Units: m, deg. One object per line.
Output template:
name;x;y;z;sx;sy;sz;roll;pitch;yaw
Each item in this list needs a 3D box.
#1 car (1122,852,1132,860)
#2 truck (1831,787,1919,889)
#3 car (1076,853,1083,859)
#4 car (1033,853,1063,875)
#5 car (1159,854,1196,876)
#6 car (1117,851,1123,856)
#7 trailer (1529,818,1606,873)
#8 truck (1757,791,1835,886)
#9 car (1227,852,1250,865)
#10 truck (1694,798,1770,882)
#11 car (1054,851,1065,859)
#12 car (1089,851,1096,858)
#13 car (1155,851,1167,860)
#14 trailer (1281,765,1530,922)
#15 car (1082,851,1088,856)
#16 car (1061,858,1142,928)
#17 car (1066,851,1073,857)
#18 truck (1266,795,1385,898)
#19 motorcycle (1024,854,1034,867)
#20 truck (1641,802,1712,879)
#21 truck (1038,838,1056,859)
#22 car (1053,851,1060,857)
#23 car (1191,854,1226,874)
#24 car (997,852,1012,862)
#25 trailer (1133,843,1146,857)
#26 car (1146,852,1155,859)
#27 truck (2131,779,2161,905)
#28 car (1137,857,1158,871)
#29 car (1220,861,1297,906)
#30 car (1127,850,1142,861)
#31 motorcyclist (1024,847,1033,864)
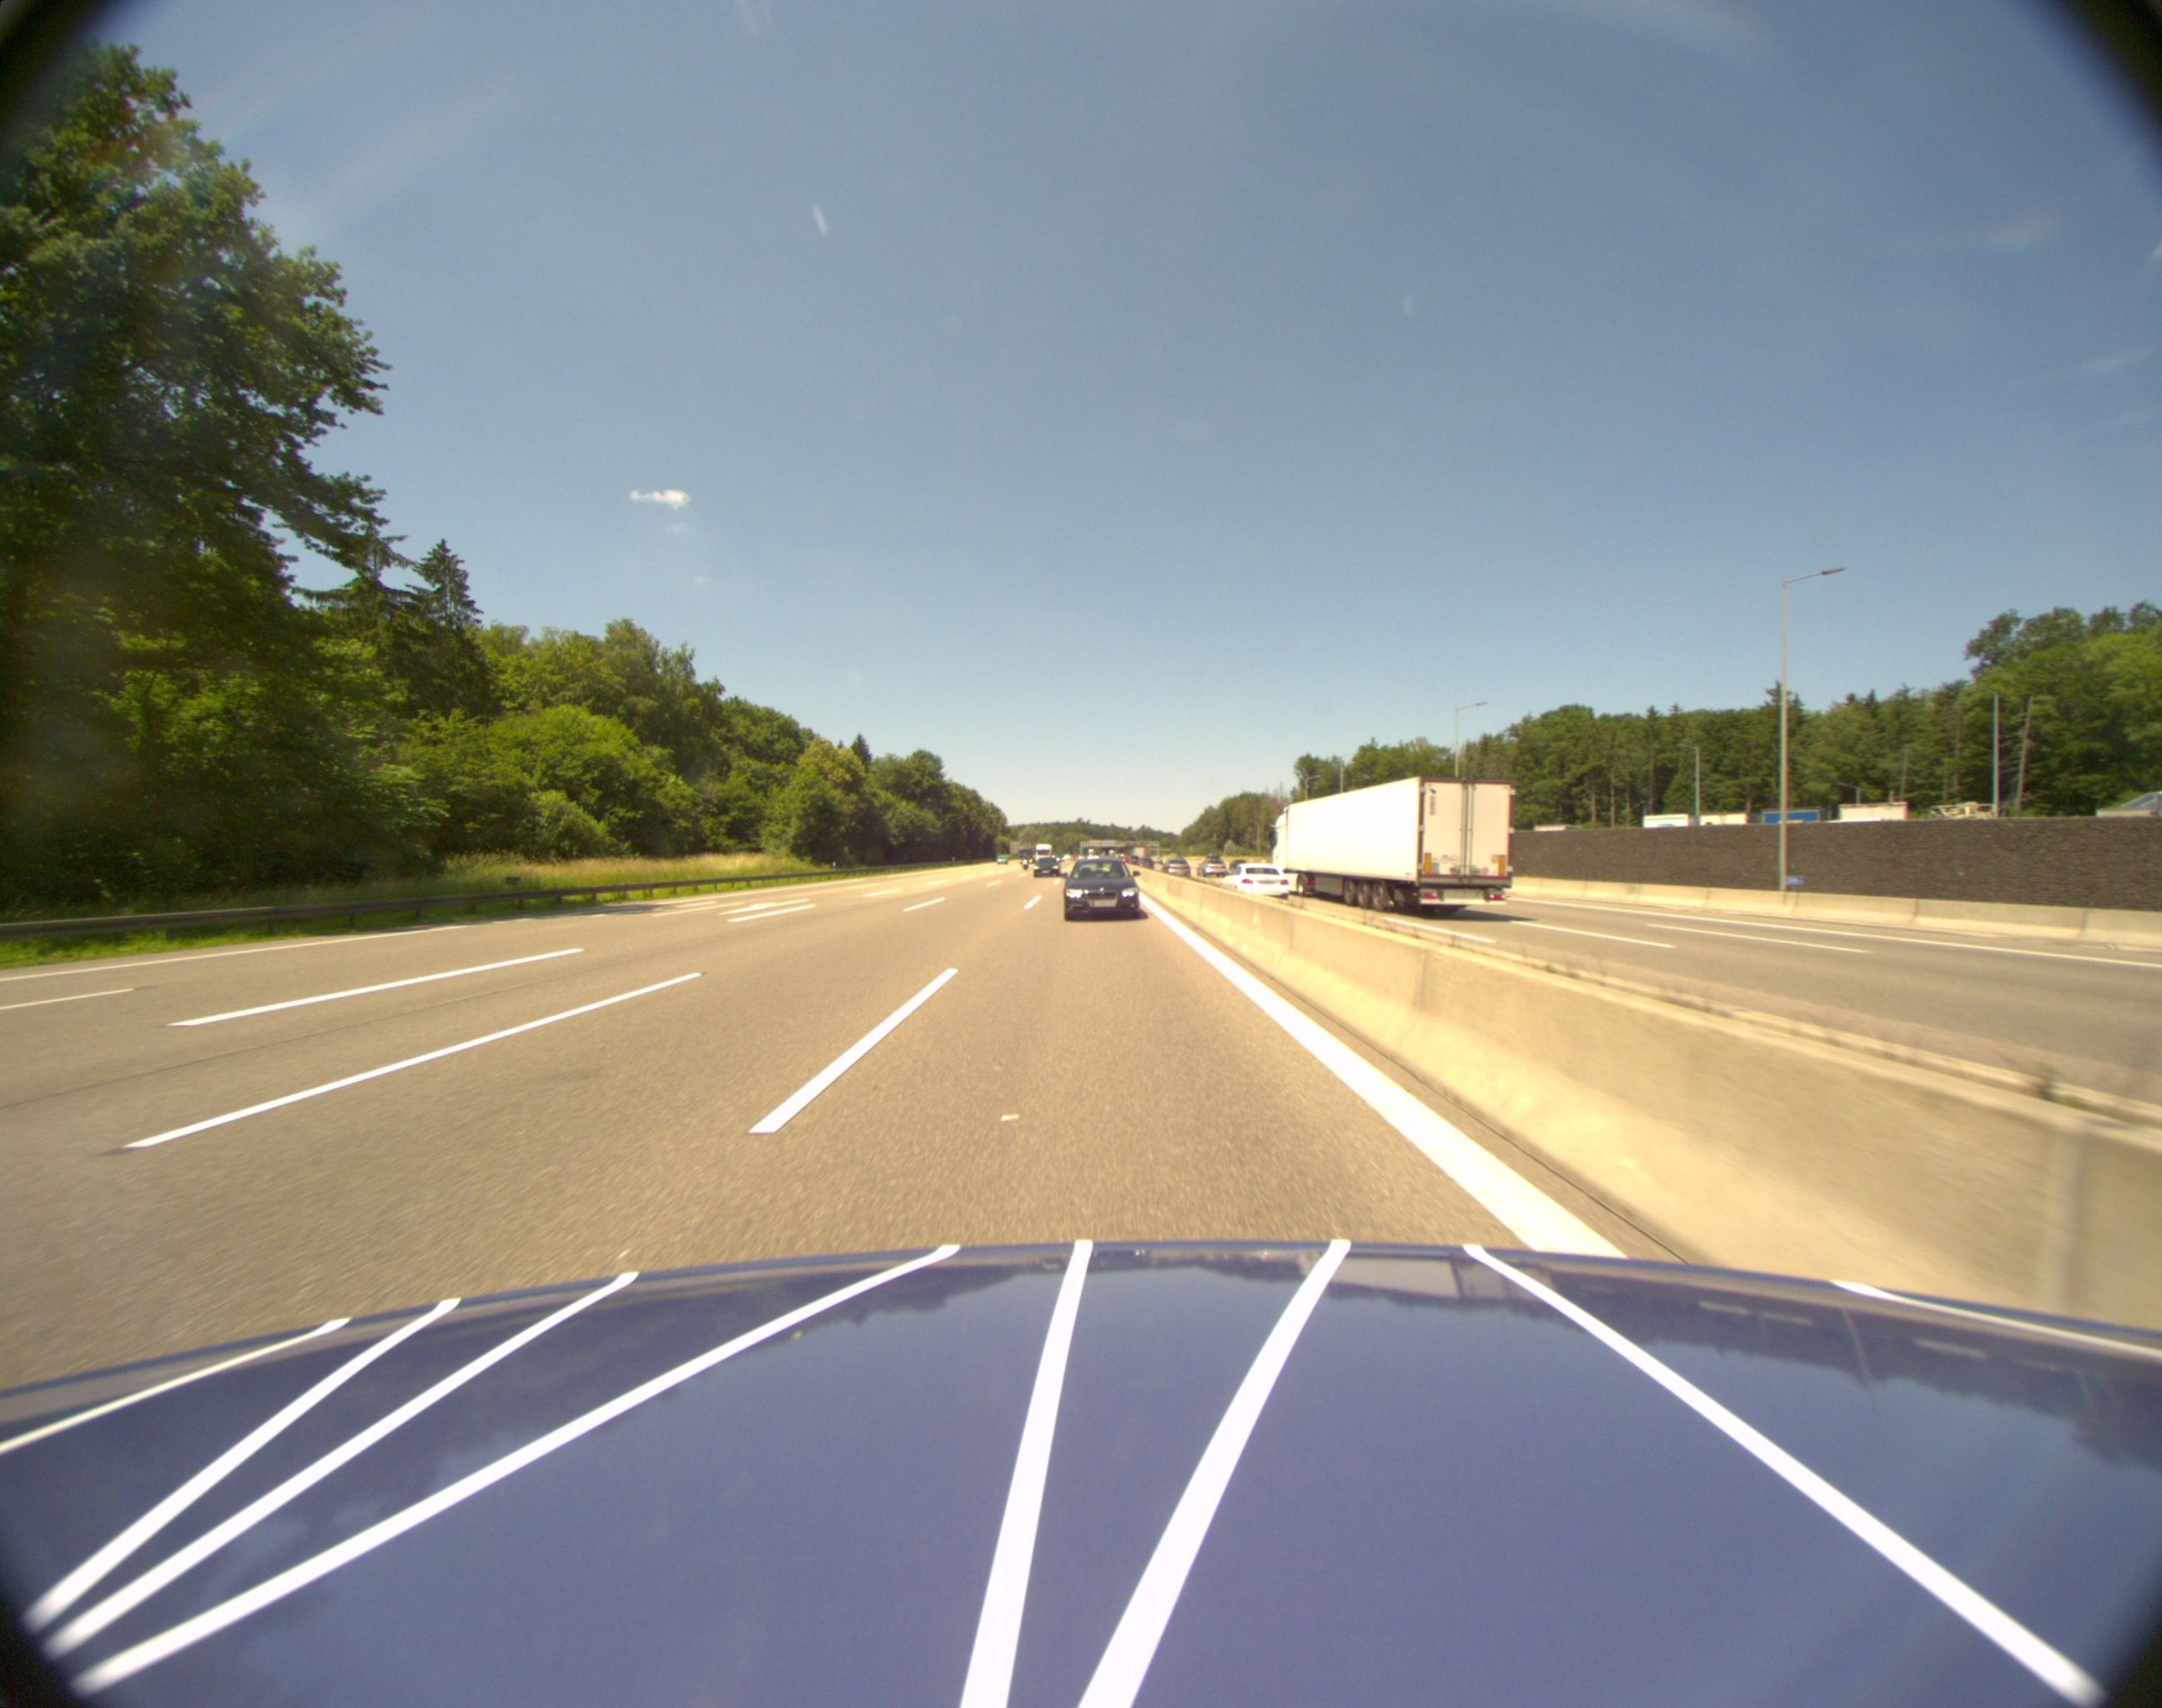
car;9.142;0.385;150.030;1.735;1.505;5.044;0;0;1
truck;48.438;-0.890;46.522;11.562;5.580;3.358;0;1;-45
car;-0.350;0.581;203.441;1.910;1.450;4.127;1;1;1
car;-2.313;0.712;53.972;1.834;1.454;4.204;1;1;1
car;6.887;0.769;54.693;1.999;1.478;5.135;0;0;-1
car;12.556;-0.144;244.564;1.788;1.633;5.463;0;0;1
trailer;48.924;-0.834;76.074;14.597;5.043;3.214;0;1;-44
truck;47.185;-0.930;50.003;11.562;5.580;3.219;0;1;-45
car;19.542;0.557;94.500;1.999;1.611;4.213;0;0;-1
truck;47.696;-0.967;55.504;11.562;5.580;3.219;0;1;-45
car;-4.543;0.201;160.441;1.998;1.671;4.127;1;1;3
car;3.310;0.169;221.857;1.998;1.935;4.128;0;0;1
car;16.742;0.309;159.949;1.998;1.763;5.923;0;0;1
trailer;10.689;-0.323;27.822;3.030;4.200;14.466;1;0;1
car;1.312;-0.103;250.256;1.910;1.450;4.127;1;1;2
car;0.523;0.866;19.043;1.741;1.450;4.543;-3;0;2
car;-3.146;0.056;216.985;1.747;1.529;4.127;1;1;3
truck;10.795;-0.322;34.357;3.055;4.113;6.948;2;1;0
motorcycle;-5.732;0.694;83.765;0.925;1.310;2.998;0;0;1
truck;46.251;-1.001;58.878;8.506;5.580;3.219;0;1;-45
truck;-5.596;-0.877;125.576;2.428;3.237;8.689;1;1;1
car;-6.681;0.087;208.038;1.747;1.529;4.127;1;1;2
car;10.458;0.791;62.592;1.999;1.478;5.018;2;0;-1
car;-12.977;0.451;129.004;1.998;1.671;4.127;1;1;3
trailer;17.163;-1.093;223.681;2.761;3.978;14.467;0;0;1
car;17.390;0.344;190.405;1.998;1.763;5.038;0;0;1
truck;46.910;-0.525;30.335;16.746;5.580;3.441;0;1;-44
car;7.511;1.126;86.176;1.875;1.538;4.591;0;0;-1
car;6.267;1.000;27.304;1.752;1.449;4.156;0;0;-1
car;7.971;0.208;113.482;1.998;1.653;5.754;1;0;1
motorcyclist;-5.733;0.150;83.632;0.914;1.926;0.905;0;1;1
